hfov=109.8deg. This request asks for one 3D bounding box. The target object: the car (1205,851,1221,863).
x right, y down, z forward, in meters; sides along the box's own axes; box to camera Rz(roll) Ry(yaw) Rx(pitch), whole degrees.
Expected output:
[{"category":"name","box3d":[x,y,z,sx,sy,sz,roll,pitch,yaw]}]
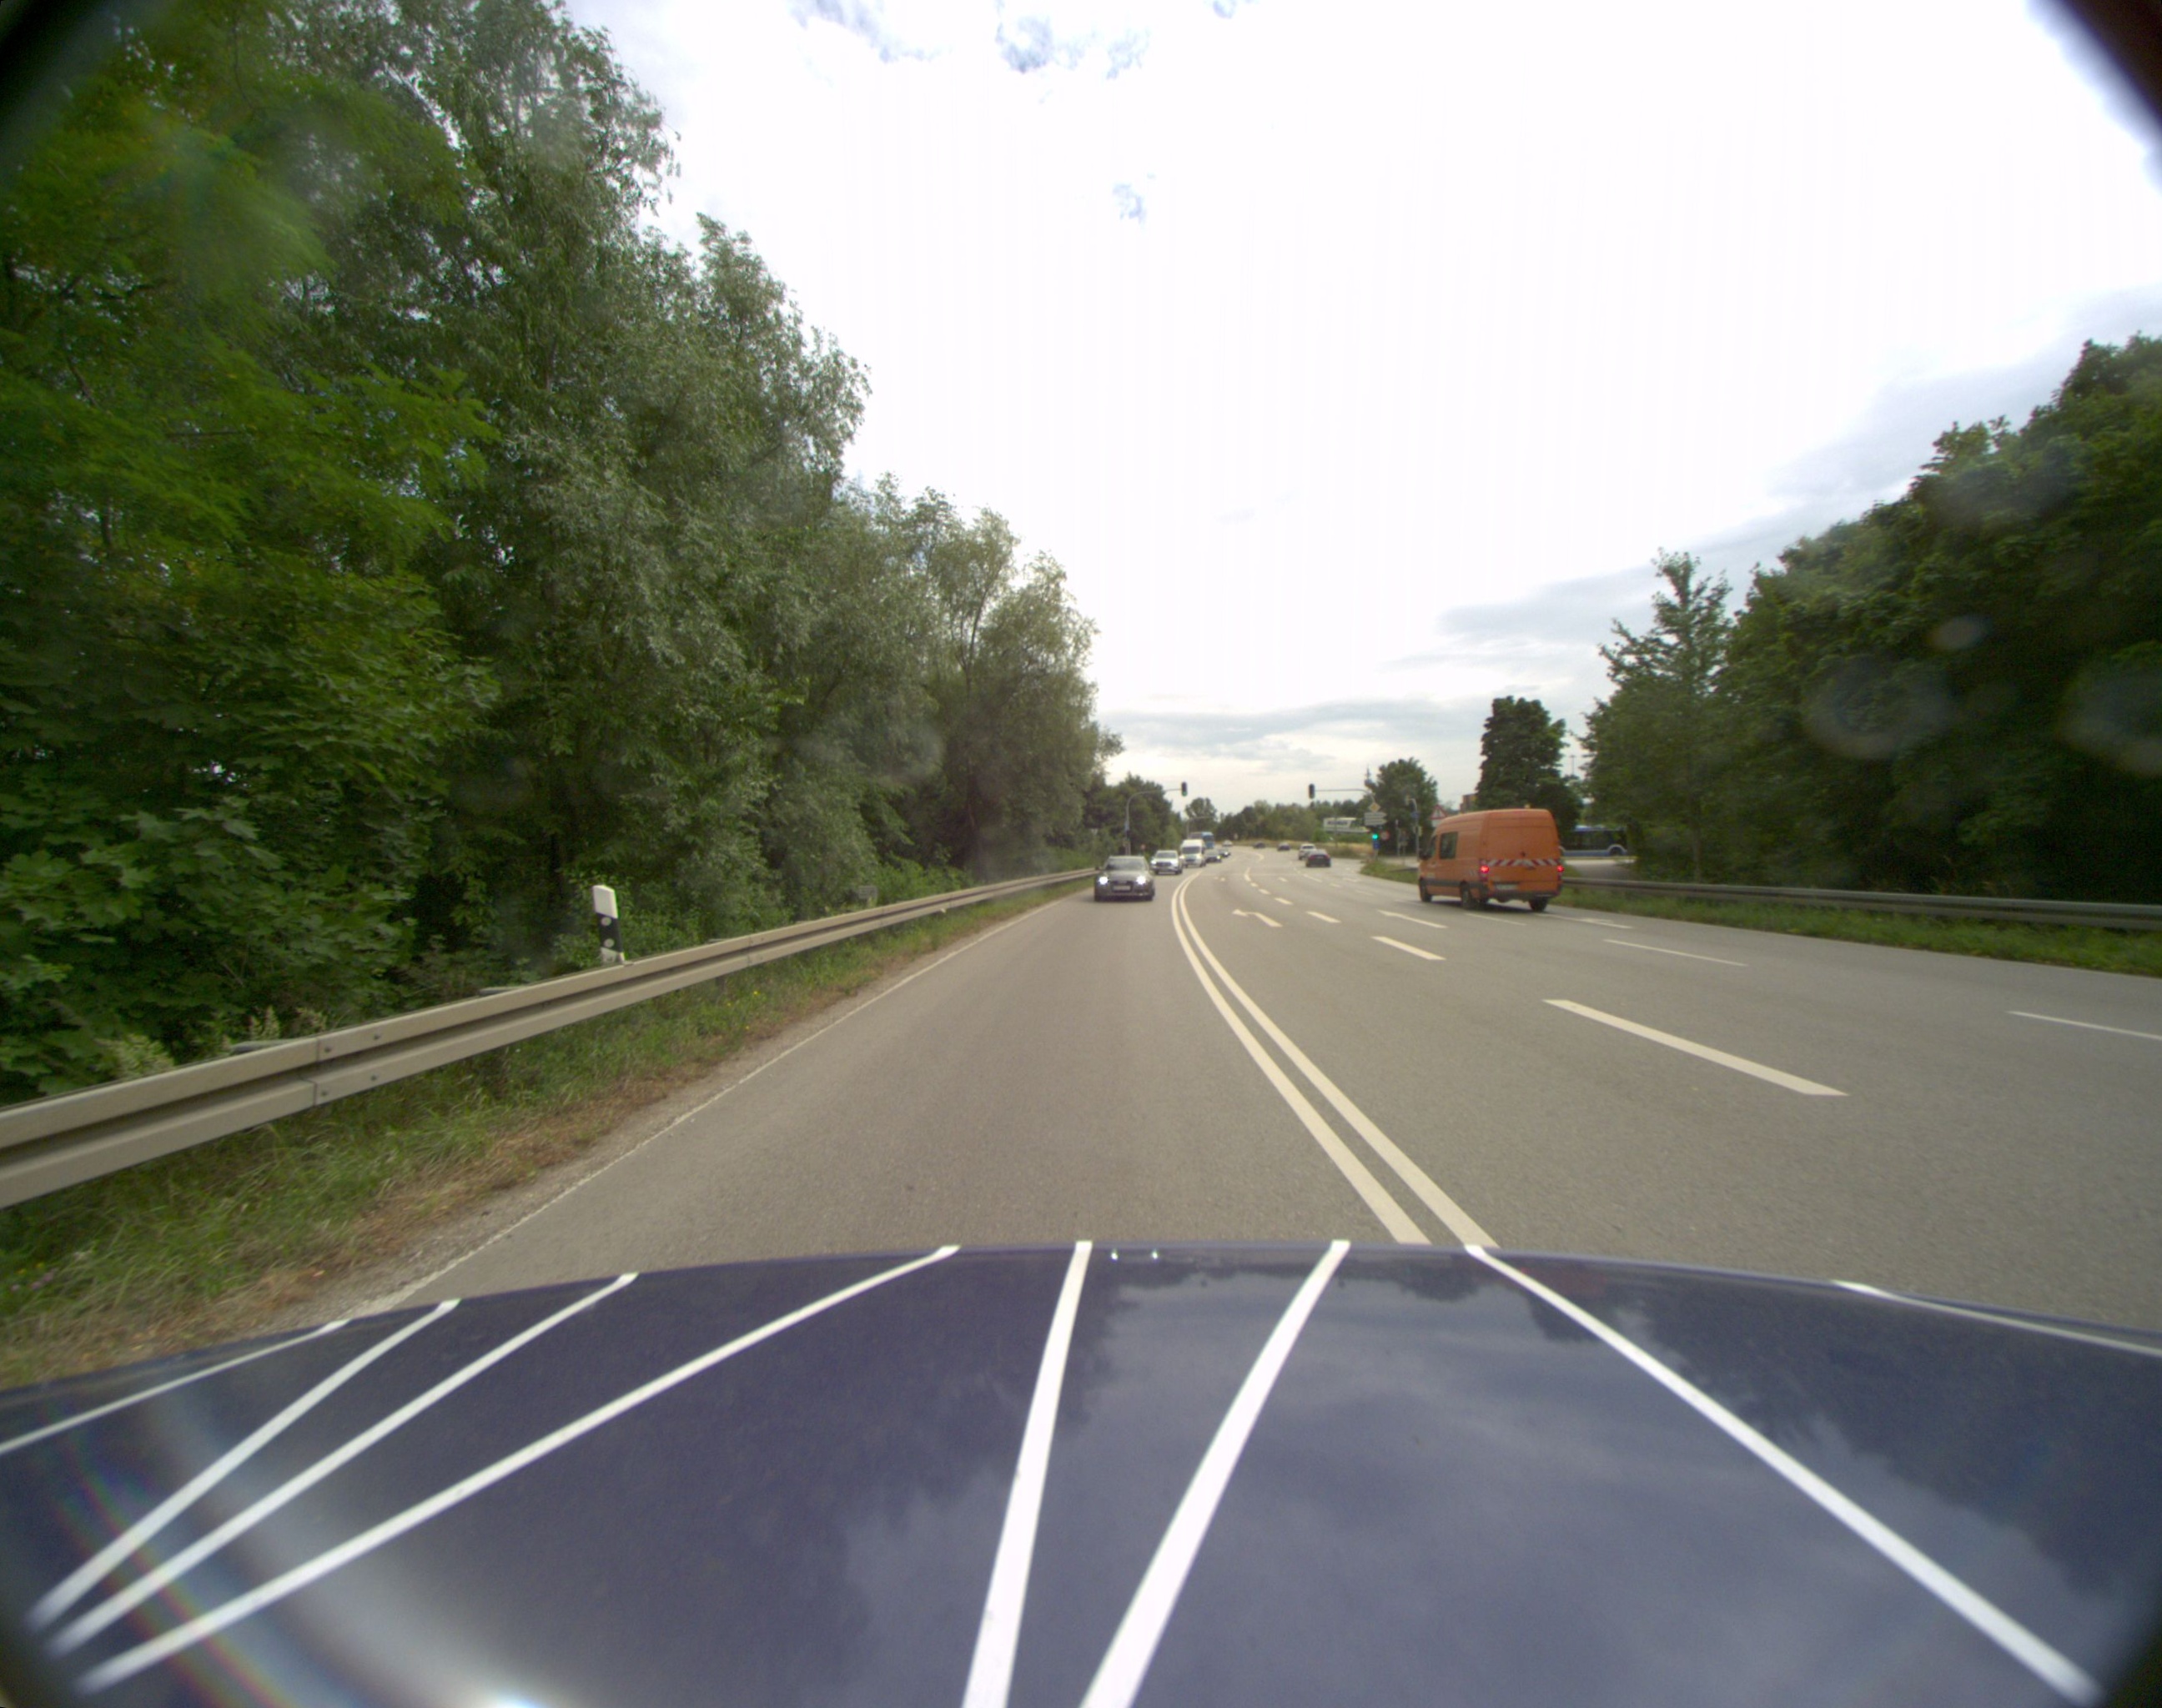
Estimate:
[{"category":"car","box3d":[15.660,0.379,90.192,1.743,1.317,4.003,1,1,9]}]

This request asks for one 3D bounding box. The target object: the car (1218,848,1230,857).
[{"category":"car","box3d":[21.712,-0.307,115.436,1.742,1.317,4.003,1,1,11]}]

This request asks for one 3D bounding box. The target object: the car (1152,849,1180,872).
[{"category":"car","box3d":[5.822,0.423,51.751,1.825,1.489,4.226,0,1,7]}]

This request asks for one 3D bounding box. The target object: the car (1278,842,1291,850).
[{"category":"car","box3d":[36.039,-1.425,134.640,1.743,1.477,4.202,-1,1,9]}]

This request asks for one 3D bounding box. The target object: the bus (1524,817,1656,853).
[{"category":"bus","box3d":[47.832,-1.734,71.618,10.062,3.029,3.122,-2,1,4]}]

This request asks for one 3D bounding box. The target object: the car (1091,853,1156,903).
[{"category":"car","box3d":[1.528,0.748,25.825,1.964,1.447,4.798,-1,1,5]}]

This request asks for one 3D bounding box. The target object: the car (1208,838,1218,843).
[{"category":"car","box3d":[36.347,-3.668,209.210,1.744,1.377,3.998,-4,2,-2]}]

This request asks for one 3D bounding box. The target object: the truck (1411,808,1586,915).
[{"category":"truck","box3d":[11.487,0.190,21.563,2.320,2.586,6.027,-1,0,7]}]

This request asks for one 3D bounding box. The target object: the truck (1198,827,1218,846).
[{"category":"truck","box3d":[30.815,-4.233,184.960,3.027,4.325,9.568,-1,1,-1]}]

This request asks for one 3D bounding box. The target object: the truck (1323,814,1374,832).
[{"category":"truck","box3d":[68.299,-8.068,194.393,3.367,4.303,14.173,-2,5,-25]}]

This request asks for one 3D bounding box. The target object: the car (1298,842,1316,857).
[{"category":"car","box3d":[24.881,-0.500,83.715,1.860,1.634,4.742,0,0,15]}]

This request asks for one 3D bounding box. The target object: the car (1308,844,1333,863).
[{"category":"car","box3d":[19.889,-0.017,63.266,1.720,1.489,4.553,0,0,15]}]

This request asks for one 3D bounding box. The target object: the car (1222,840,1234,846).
[{"category":"car","box3d":[36.528,-2.742,189.201,1.745,1.477,3.998,-4,1,-5]}]

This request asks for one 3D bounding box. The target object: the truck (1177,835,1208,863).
[{"category":"truck","box3d":[10.958,-0.484,74.393,2.376,2.579,6.004,-1,1,14]}]

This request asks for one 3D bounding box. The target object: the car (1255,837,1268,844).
[{"category":"car","box3d":[38.374,-2.965,161.602,1.744,1.377,4.000,-3,1,2]}]
